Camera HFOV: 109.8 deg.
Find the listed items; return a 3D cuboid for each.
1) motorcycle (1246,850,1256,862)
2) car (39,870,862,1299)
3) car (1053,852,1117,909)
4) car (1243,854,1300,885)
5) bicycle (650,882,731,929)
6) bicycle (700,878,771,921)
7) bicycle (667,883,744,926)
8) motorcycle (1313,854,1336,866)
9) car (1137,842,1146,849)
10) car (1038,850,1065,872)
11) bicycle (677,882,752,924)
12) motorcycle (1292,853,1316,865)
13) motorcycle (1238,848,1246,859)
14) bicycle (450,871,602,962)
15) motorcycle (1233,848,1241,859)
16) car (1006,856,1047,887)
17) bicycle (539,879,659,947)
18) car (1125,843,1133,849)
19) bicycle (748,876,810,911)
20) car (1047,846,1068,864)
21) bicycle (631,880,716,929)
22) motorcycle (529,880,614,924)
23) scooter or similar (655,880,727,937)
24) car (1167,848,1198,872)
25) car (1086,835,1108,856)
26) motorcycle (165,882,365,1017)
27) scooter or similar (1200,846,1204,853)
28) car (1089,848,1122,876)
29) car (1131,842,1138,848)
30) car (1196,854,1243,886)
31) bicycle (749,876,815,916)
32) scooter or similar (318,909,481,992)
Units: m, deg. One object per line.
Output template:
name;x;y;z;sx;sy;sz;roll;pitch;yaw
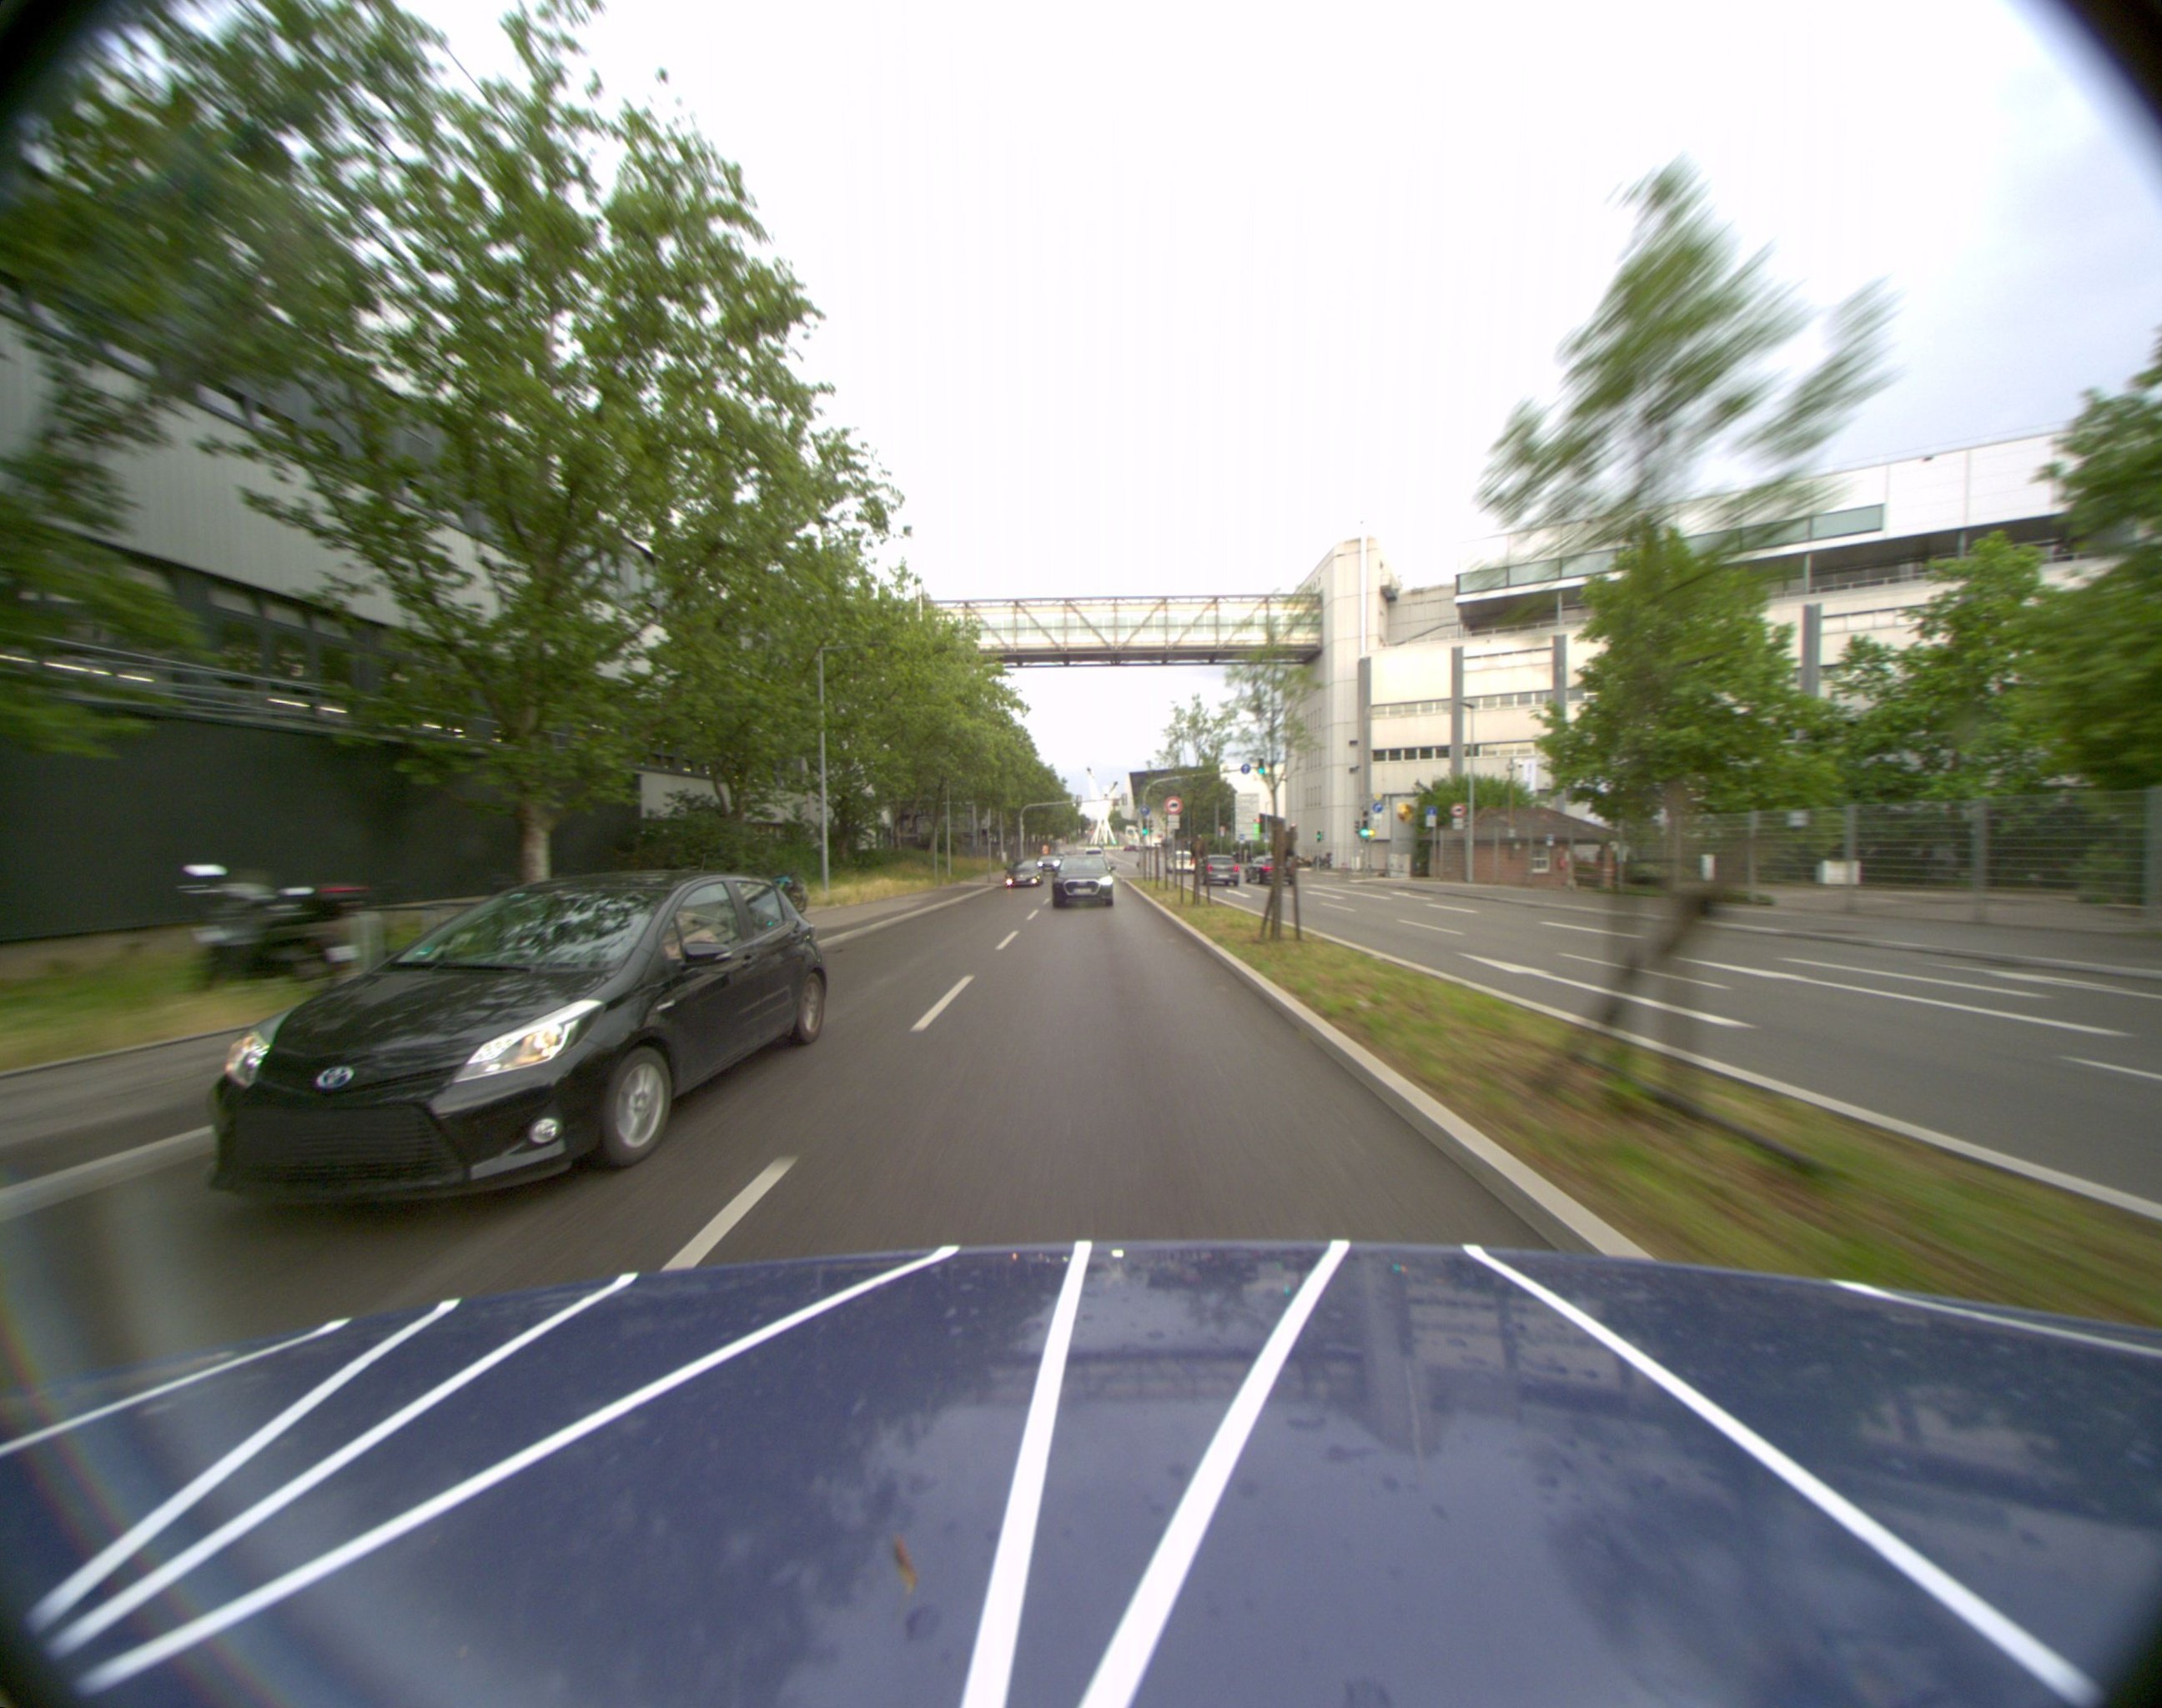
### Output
motorcycle;17.986;0.216;80.380;0.569;1.156;2.038;0;1;-1
car;-3.104;0.949;5.266;1.749;1.461;4.640;-1;1;1
car;0.140;0.753;24.446;1.820;1.536;5.607;-1;1;1
car;9.521;0.743;38.301;1.777;1.396;4.614;0;1;1
bicycle;-8.552;1.116;16.653;1.555;0.999;0.393;0;1;0
bicycle;-8.474;1.110;18.635;1.555;0.999;0.393;0;1;0
bicycle;-8.541;1.141;17.299;1.555;0.953;0.393;0;1;0
motorcycle;21.556;0.497;67.372;0.627;1.021;2.166;0;1;-26
car;15.820;-2.255;198.515;2.036;1.580;4.485;0;1;2
car;-2.208;0.492;58.327;1.825;1.581;4.331;-1;1;1
bicycle;-8.541;1.135;17.715;1.555;0.953;0.393;0;1;0
motorcycle;20.346;0.475;69.357;0.628;1.021;2.165;-1;1;-34
motorcycle;18.119;-0.047;85.441;0.626;1.260;2.171;-1;1;6
bicycle;-8.544;0.940;11.749;1.864;1.340;0.447;0;1;-12
motorcycle;18.163;-0.054;88.370;0.626;1.208;1.968;0;1;2
car;-2.831;0.872;40.279;1.749;1.422;4.516;-1;1;1
bicycle;-8.549;1.033;13.519;1.793;1.160;0.447;0;1;-5
car;12.648;-2.186;200.030;1.776;1.580;4.485;0;1;2
bicycle;-8.516;1.106;21.441;1.611;0.934;0.387;0;1;0
car;-2.184;0.052;72.922;1.820;1.571;4.331;-1;1;1
bicycle;-8.479;1.044;15.831;1.555;0.999;0.393;0;1;0
motorcycle;-12.078;1.131;18.042;1.611;0.996;0.577;0;1;0
scooter or similar;-7.537;1.054;14.702;1.216;1.085;0.312;0;1;-4
car;7.296;0.389;54.994;1.776;1.580;4.485;0;1;2
car;1.478;-0.841;72.956;2.035;1.920;4.331;-1;1;1
motorcycle;-8.377;0.941;7.802;2.011;1.266;0.442;1;1;13
scooter or similar;18.041;-0.703;113.590;0.394;1.123;1.569;0;1;2
car;1.400;0.492;44.491;1.820;1.536;4.064;1;-1;1
car;14.522;-2.366;207.309;1.776;1.580;4.485;0;1;2
car;6.606;0.747;36.660;1.581;1.396;4.111;0;1;1
bicycle;-7.713;1.084;19.629;1.555;0.999;0.393;0;1;0
scooter or similar;-8.366;1.167;9.374;1.478;0.931;0.366;0;1;-16
